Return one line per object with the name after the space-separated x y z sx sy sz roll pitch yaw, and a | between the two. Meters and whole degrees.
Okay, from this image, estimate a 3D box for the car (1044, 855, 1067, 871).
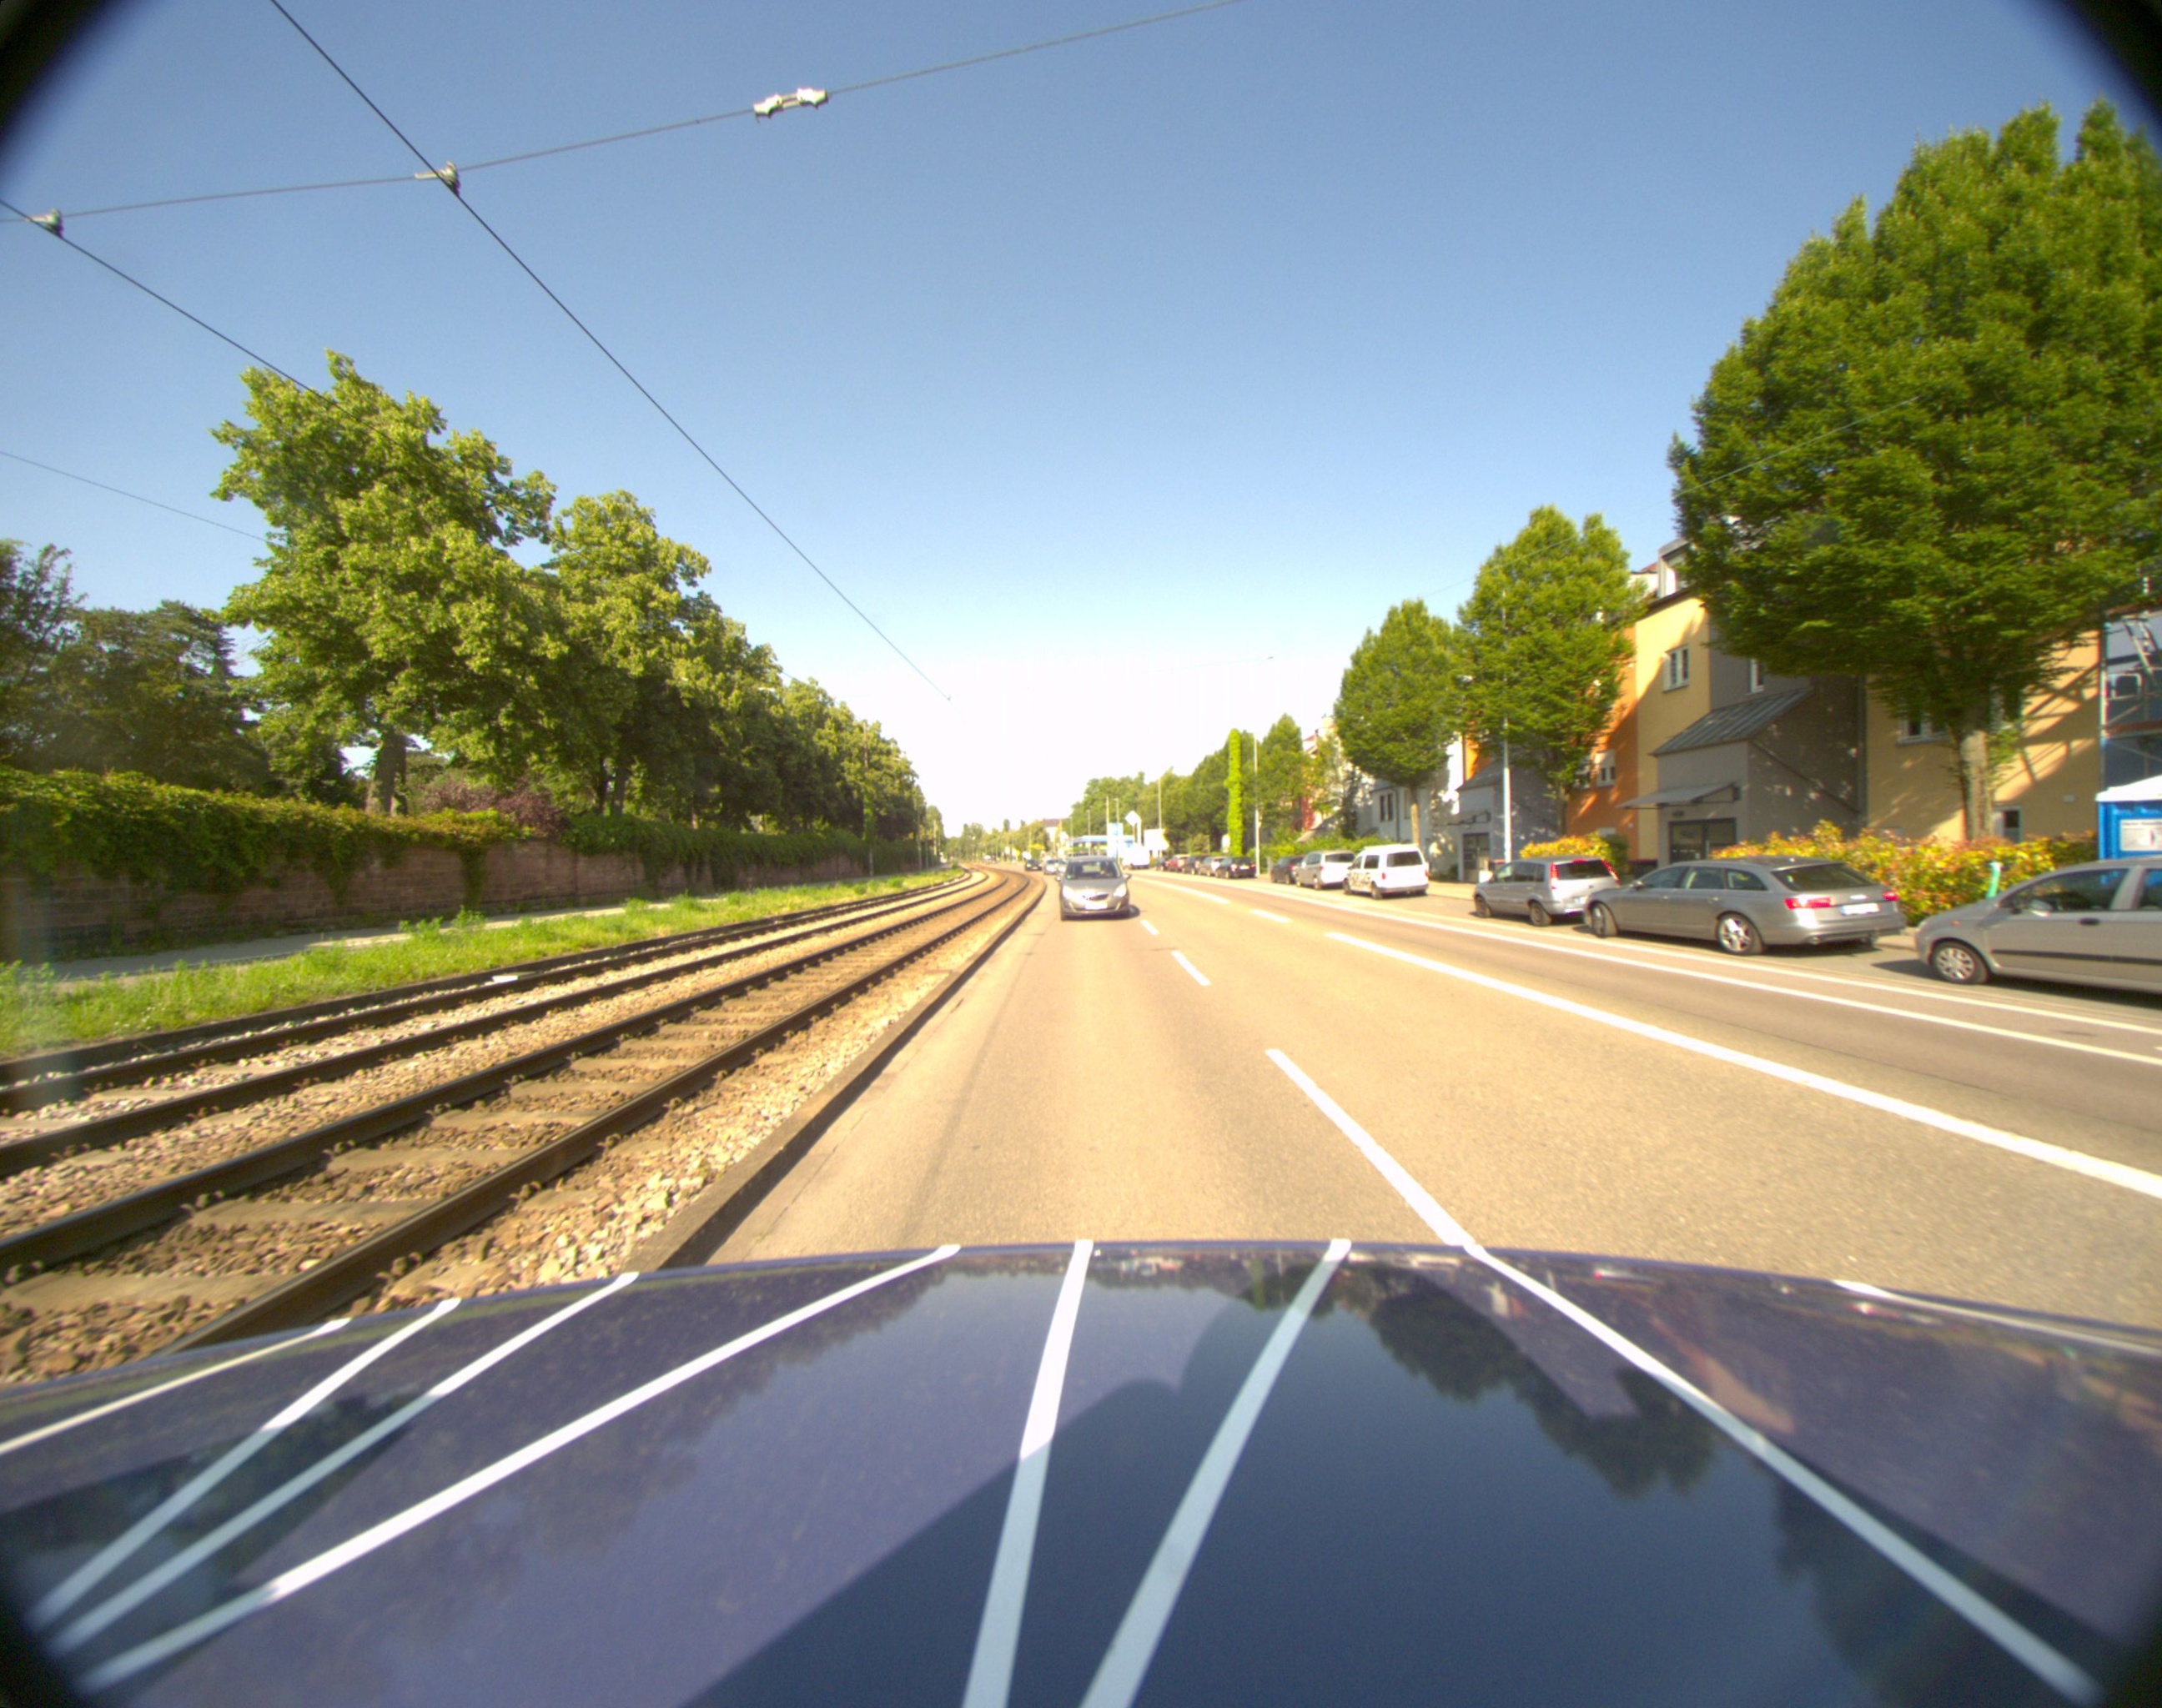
-2.257 0.772 67.590 1.579 1.306 3.997 -3 0 -8 | car

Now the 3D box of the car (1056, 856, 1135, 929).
0.291 0.874 19.191 1.730 1.574 3.762 -2 0 -1 | car

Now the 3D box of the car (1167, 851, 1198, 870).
9.052 0.567 68.255 1.768 1.565 4.159 -2 1 -6 | car

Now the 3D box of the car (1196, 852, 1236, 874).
10.075 0.633 57.051 1.717 1.463 4.841 -3 1 -5 | car

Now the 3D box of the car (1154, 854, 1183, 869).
8.423 0.686 73.555 1.657 1.416 4.710 -1 0 -7 | car

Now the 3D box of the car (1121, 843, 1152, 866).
6.401 0.045 88.368 2.159 2.443 6.178 -4 0 -9 | car

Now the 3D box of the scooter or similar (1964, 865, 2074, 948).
13.861 0.754 11.255 0.294 1.147 1.042 -1 1 -4 | scooter or similar

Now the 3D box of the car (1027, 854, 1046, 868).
-5.232 0.810 88.510 1.711 1.581 3.997 -3 0 -9 | car

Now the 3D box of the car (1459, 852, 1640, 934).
10.906 0.821 18.068 1.767 1.530 3.981 -6 0 1 | car

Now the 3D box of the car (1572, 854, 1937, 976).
10.849 0.847 12.875 1.753 1.502 4.754 -5 0 -2 | car

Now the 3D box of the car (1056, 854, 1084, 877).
-0.812 0.803 54.816 1.710 1.487 3.998 -3 0 -4 | car

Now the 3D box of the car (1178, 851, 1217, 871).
9.536 0.549 62.389 1.768 1.565 4.433 -2 1 -10 | car

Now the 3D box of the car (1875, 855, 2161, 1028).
11.016 0.835 7.966 1.605 1.486 3.509 -5 0 0 | car

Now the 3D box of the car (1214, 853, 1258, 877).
10.328 0.689 51.098 1.714 1.463 4.908 -3 0 -2 | car

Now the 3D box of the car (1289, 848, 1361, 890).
10.929 0.608 34.428 1.672 1.691 4.823 -3 0 0 | car

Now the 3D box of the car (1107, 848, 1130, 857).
8.738 -0.387 176.151 5.086 1.929 1.856 -1 0 -5 | car

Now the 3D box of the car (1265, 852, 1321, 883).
11.035 0.646 39.843 1.620 1.457 4.057 -3 0 -2 | car

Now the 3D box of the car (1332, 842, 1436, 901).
11.110 0.594 28.229 1.767 1.835 4.579 -6 0 -1 | car
